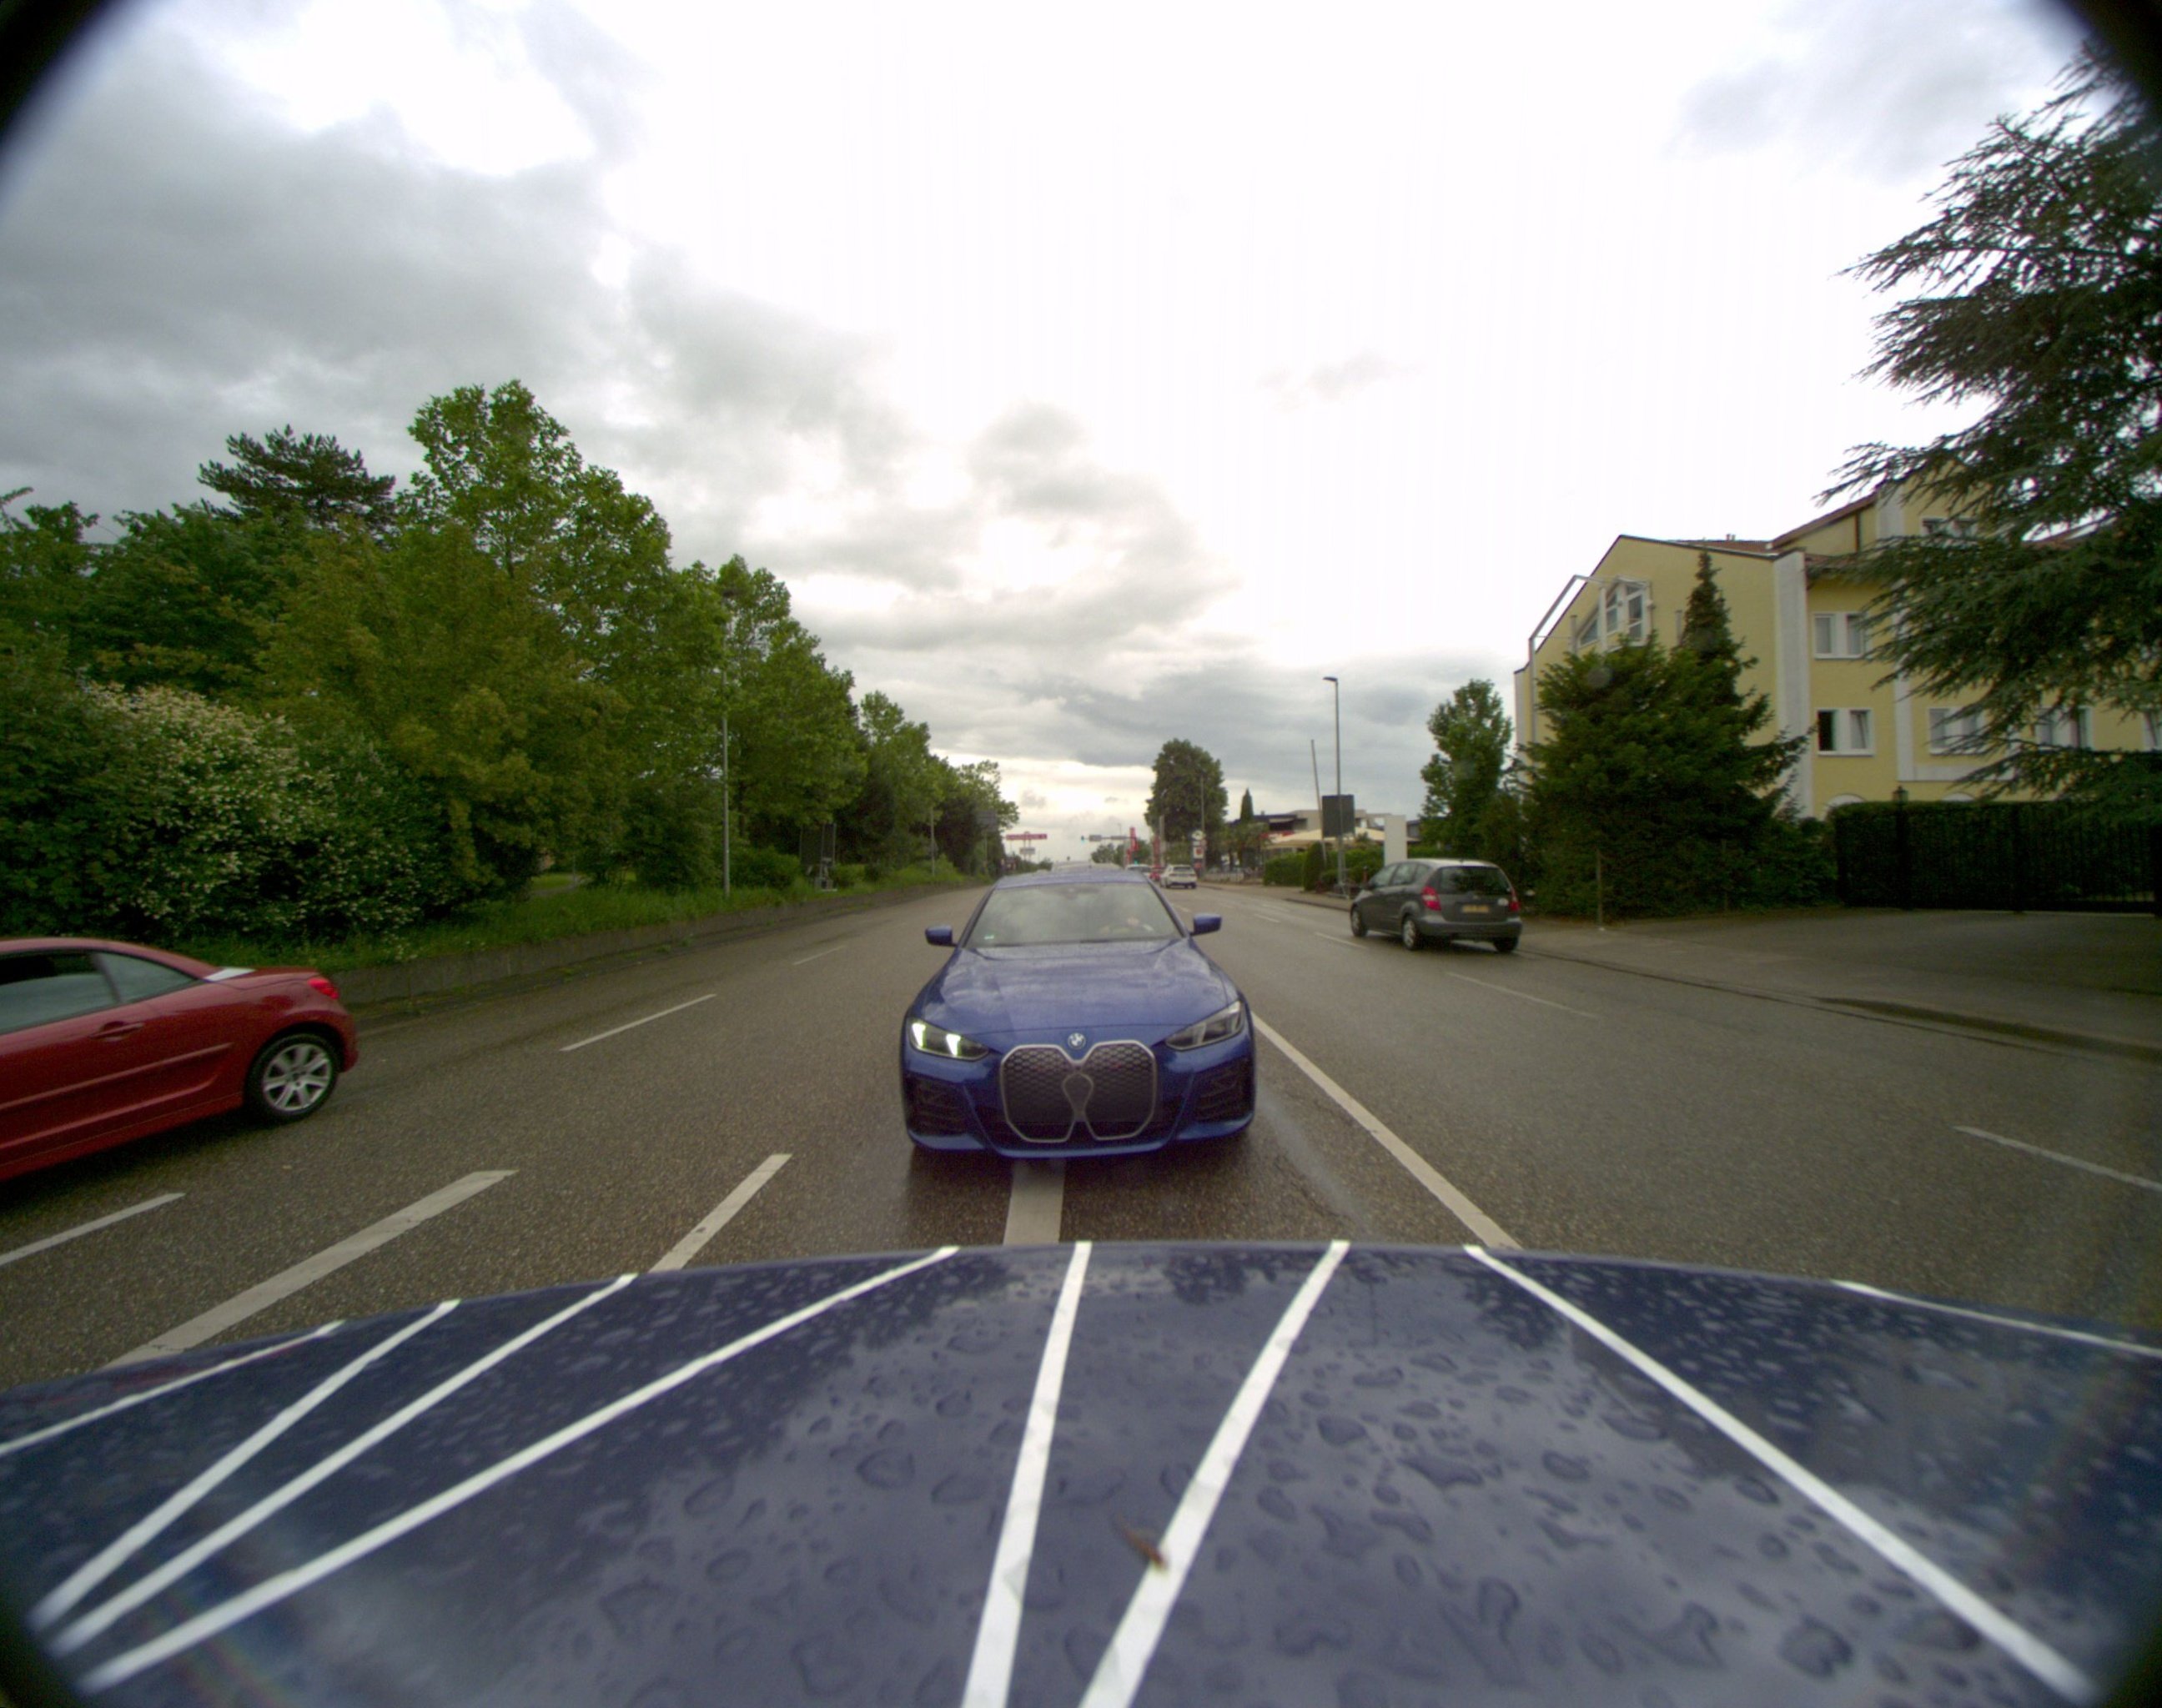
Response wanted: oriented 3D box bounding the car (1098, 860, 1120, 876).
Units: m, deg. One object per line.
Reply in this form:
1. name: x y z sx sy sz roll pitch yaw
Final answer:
1. car: 2.637 1.335 72.786 1.820 1.373 4.272 -3 0 0

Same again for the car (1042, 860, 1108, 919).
1. car: -0.145 1.008 23.217 1.807 1.543 4.000 -1 0 0

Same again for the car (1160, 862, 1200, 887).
1. car: 6.077 1.223 47.034 1.790 1.451 4.431 -1 0 -2

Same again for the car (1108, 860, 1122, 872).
1. car: 4.894 1.701 109.201 1.764 1.665 3.780 -1 0 -1

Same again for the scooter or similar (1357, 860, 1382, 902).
1. scooter or similar: 10.052 0.928 26.511 0.505 1.398 1.882 0 0 11

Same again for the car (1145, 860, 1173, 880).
1. car: 6.310 1.255 61.695 1.699 1.467 3.780 -2 0 -1

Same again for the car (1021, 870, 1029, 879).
1. car: -12.990 4.792 177.115 1.812 1.718 3.998 -3 1 -3

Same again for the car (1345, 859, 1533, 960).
1. car: 6.309 0.892 13.861 1.704 1.590 3.549 0 0 -1

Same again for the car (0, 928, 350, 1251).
1. car: -6.082 1.265 3.605 1.629 1.395 3.689 -2 0 -1

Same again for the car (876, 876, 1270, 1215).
1. car: -0.036 0.954 5.664 1.803 1.399 4.272 -1 0 0

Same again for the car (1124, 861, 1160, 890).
1. car: 3.345 1.162 42.288 1.643 1.451 3.518 -1 0 -1

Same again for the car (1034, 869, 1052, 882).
1. car: -4.388 2.504 88.763 1.775 1.448 4.000 -1 0 1

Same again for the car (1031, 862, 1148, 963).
1. car: 0.148 0.950 14.044 1.807 1.543 4.223 -1 0 0
